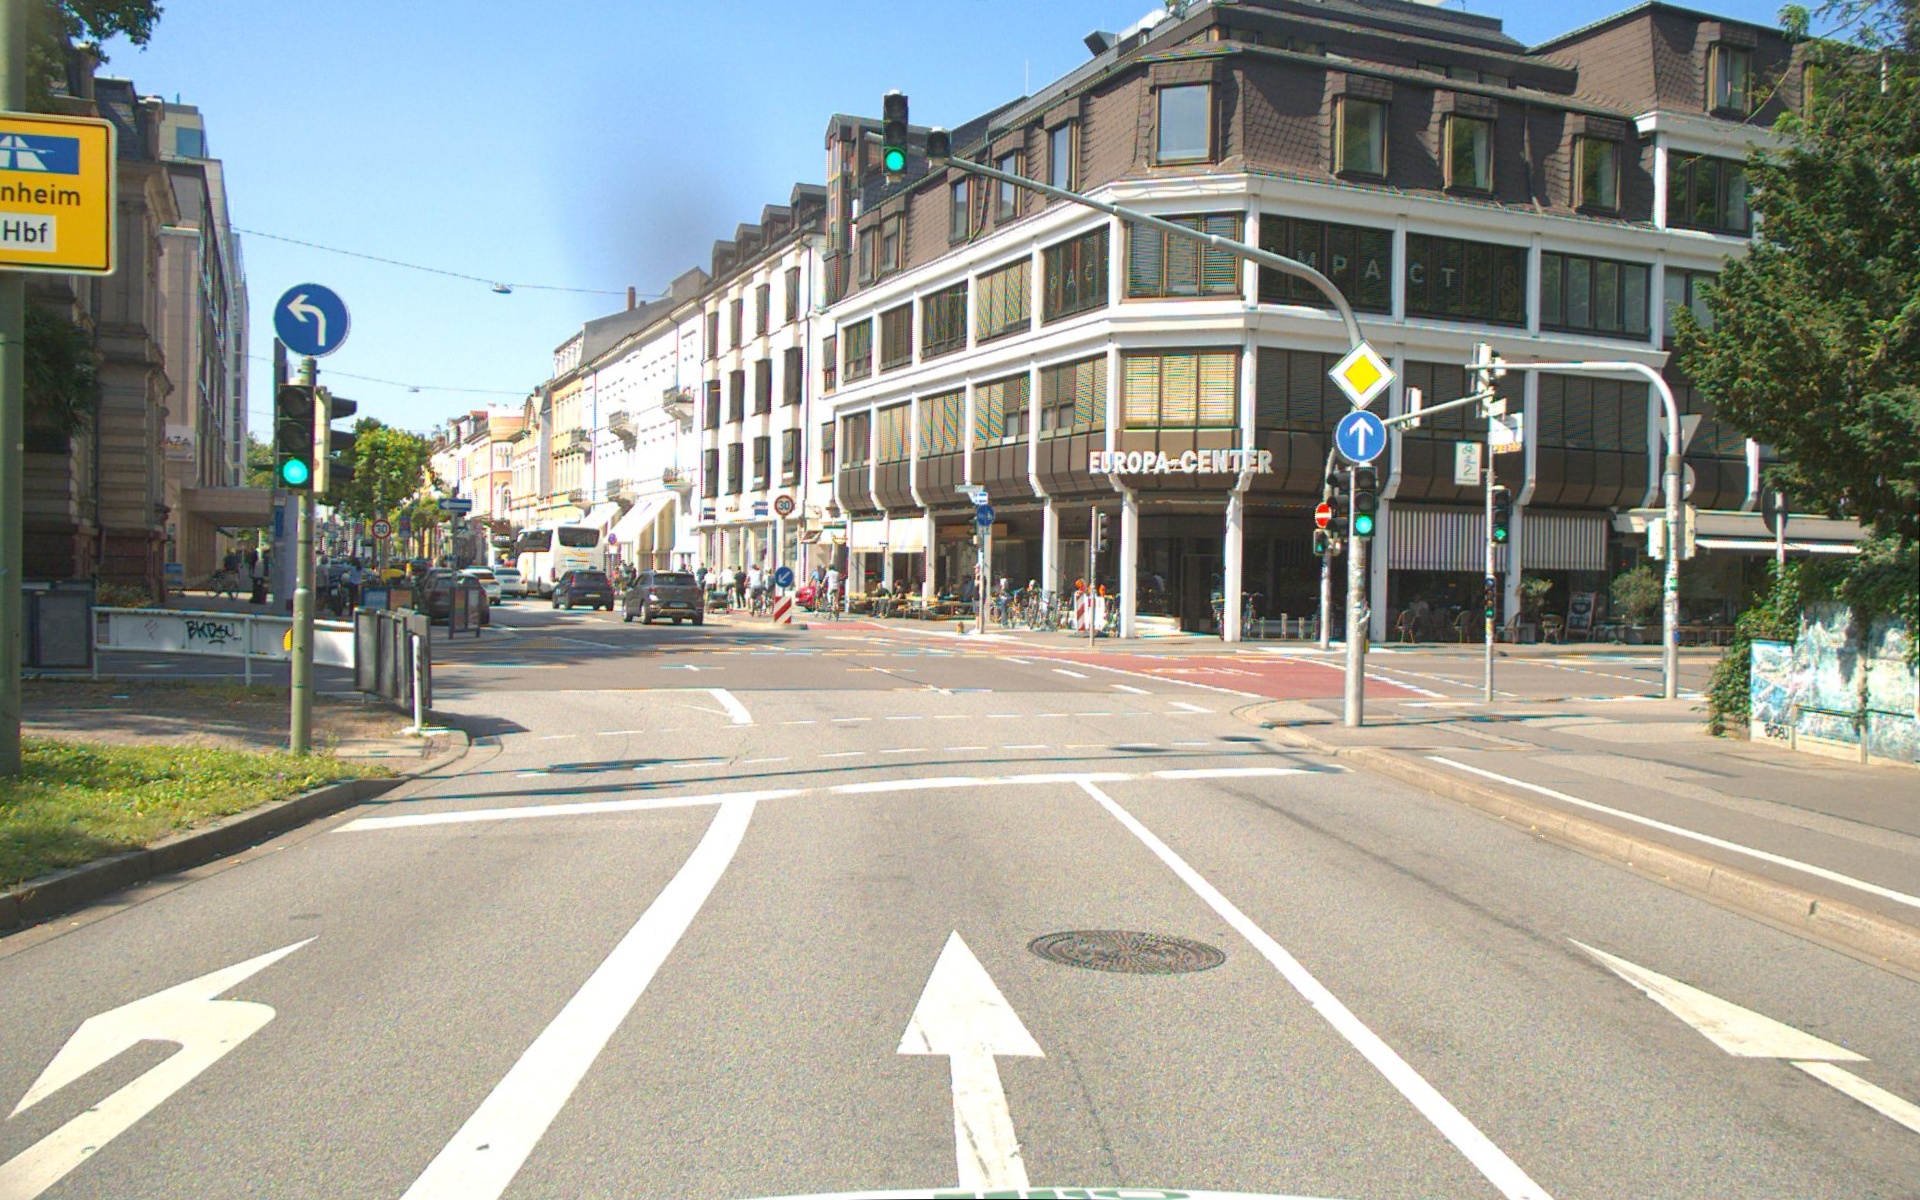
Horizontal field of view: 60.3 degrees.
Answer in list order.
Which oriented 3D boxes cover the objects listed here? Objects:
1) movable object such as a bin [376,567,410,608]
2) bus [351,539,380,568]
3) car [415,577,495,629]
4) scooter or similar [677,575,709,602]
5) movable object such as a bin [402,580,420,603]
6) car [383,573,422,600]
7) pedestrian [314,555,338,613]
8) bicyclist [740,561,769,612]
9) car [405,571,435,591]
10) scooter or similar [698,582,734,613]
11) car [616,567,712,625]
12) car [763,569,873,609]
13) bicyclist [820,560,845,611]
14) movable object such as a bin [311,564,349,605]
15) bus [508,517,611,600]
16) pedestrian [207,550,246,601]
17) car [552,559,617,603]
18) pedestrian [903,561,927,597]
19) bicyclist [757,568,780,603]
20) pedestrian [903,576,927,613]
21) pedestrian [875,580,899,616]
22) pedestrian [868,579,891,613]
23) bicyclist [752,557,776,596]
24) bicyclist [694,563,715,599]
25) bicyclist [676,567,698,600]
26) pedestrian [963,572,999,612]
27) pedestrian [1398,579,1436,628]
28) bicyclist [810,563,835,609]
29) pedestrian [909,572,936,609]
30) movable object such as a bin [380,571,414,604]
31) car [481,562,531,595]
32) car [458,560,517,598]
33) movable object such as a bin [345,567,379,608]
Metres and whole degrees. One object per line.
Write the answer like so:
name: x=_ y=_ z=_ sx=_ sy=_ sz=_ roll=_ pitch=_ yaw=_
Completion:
movable object such as a bin: x=-21.616 y=-0.479 z=63.069 sx=1.106 sy=1.476 sz=1.432 roll=2 pitch=1 yaw=-17
bus: x=-78.329 y=-6.131 z=217.816 sx=2.736 sy=3.667 sz=8.901 roll=0 pitch=2 yaw=-26
car: x=-14.806 y=0.054 z=48.365 sx=1.909 sy=1.378 sz=4.222 roll=0 pitch=2 yaw=-21
scooter or similar: x=-11.408 y=-0.490 z=70.746 sx=1.107 sy=1.121 sz=1.077 roll=1 pitch=0 yaw=-25
movable object such as a bin: x=-23.623 y=-0.381 z=71.138 sx=0.491 sy=0.955 sz=0.552 roll=2 pitch=3 yaw=41
car: x=-32.544 y=-0.757 z=96.532 sx=1.838 sy=1.466 sz=3.971 roll=0 pitch=-1 yaw=-23
pedestrian: x=-18.484 y=-0.462 z=48.238 sx=0.540 sy=1.694 sz=0.933 roll=0 pitch=0 yaw=-14
bicyclist: x=-7.105 y=-0.457 z=57.190 sx=0.685 sy=1.702 sz=0.910 roll=3 pitch=1 yaw=-22
car: x=-40.910 y=-1.451 z=125.259 sx=1.838 sy=1.466 sz=3.972 roll=0 pitch=1 yaw=-23
scooter or similar: x=-9.343 y=-0.088 z=63.256 sx=0.949 sy=1.155 sz=1.573 roll=1 pitch=0 yaw=-26
car: x=-8.775 y=-0.117 z=48.746 sx=1.809 sy=1.554 sz=3.969 roll=3 pitch=-1 yaw=-25
car: x=-5.580 y=-0.405 z=65.141 sx=3.988 sy=1.521 sz=1.829 roll=0 pitch=-1 yaw=-22
bicyclist: x=-4.152 y=-0.480 z=53.768 sx=0.683 sy=1.654 sz=0.832 roll=0 pitch=1 yaw=-15
movable object such as a bin: x=-23.797 y=-0.586 z=62.486 sx=1.190 sy=1.476 sz=1.357 roll=2 pitch=1 yaw=-17
bus: x=-20.620 y=-2.107 z=84.501 sx=2.843 sy=3.807 sz=12.335 roll=3 pitch=0 yaw=-24
pedestrian: x=-26.277 y=-0.886 z=59.259 sx=0.771 sy=1.804 sz=0.997 roll=1 pitch=0 yaw=38
car: x=-14.087 y=-0.694 z=61.934 sx=1.807 sy=1.554 sz=3.974 roll=-1 pitch=0 yaw=-22
pedestrian: x=-1.725 y=-0.805 z=63.381 sx=0.734 sy=1.391 sz=0.580 roll=1 pitch=1 yaw=-24
bicyclist: x=-7.205 y=-0.544 z=62.126 sx=0.612 sy=1.319 sz=0.860 roll=1 pitch=0 yaw=-25
pedestrian: x=-1.713 y=-0.205 z=62.807 sx=0.751 sy=1.391 sz=0.474 roll=1 pitch=1 yaw=-25
pedestrian: x=-2.538 y=-0.083 z=57.353 sx=0.699 sy=1.238 sz=0.694 roll=0 pitch=0 yaw=-15
pedestrian: x=-2.838 y=-0.148 z=58.151 sx=0.699 sy=1.193 sz=0.694 roll=0 pitch=0 yaw=-15
bicyclist: x=-7.051 y=-0.845 z=59.483 sx=0.612 sy=1.378 sz=0.840 roll=1 pitch=0 yaw=-25
bicyclist: x=-10.040 y=-0.765 z=64.968 sx=0.612 sy=1.394 sz=0.774 roll=1 pitch=0 yaw=-25
bicyclist: x=-11.947 y=-0.733 z=72.276 sx=0.777 sy=1.403 sz=0.717 roll=1 pitch=0 yaw=-25
pedestrian: x=0.711 y=-0.259 z=57.009 sx=0.884 sy=1.374 sz=1.097 roll=0 pitch=0 yaw=-24
pedestrian: x=12.984 y=0.104 z=47.010 sx=0.811 sy=1.358 sz=0.970 roll=1 pitch=1 yaw=31
bicyclist: x=-4.734 y=-0.498 z=56.843 sx=0.612 sy=1.556 sz=0.863 roll=1 pitch=0 yaw=-22
pedestrian: x=-1.409 y=-0.357 z=62.438 sx=0.865 sy=1.391 sz=0.533 roll=1 pitch=1 yaw=-25
movable object such as a bin: x=-23.644 y=-0.522 z=69.466 sx=1.260 sy=1.322 sz=0.847 roll=1 pitch=1 yaw=-23
car: x=-21.870 y=-1.019 z=79.627 sx=1.809 sy=1.554 sz=3.971 roll=-1 pitch=0 yaw=-23
car: x=-19.422 y=-0.842 z=67.828 sx=1.838 sy=1.466 sz=3.971 roll=0 pitch=-1 yaw=-23
movable object such as a bin: x=-22.673 y=-0.482 z=62.724 sx=1.106 sy=1.476 sz=1.432 roll=2 pitch=1 yaw=-17
